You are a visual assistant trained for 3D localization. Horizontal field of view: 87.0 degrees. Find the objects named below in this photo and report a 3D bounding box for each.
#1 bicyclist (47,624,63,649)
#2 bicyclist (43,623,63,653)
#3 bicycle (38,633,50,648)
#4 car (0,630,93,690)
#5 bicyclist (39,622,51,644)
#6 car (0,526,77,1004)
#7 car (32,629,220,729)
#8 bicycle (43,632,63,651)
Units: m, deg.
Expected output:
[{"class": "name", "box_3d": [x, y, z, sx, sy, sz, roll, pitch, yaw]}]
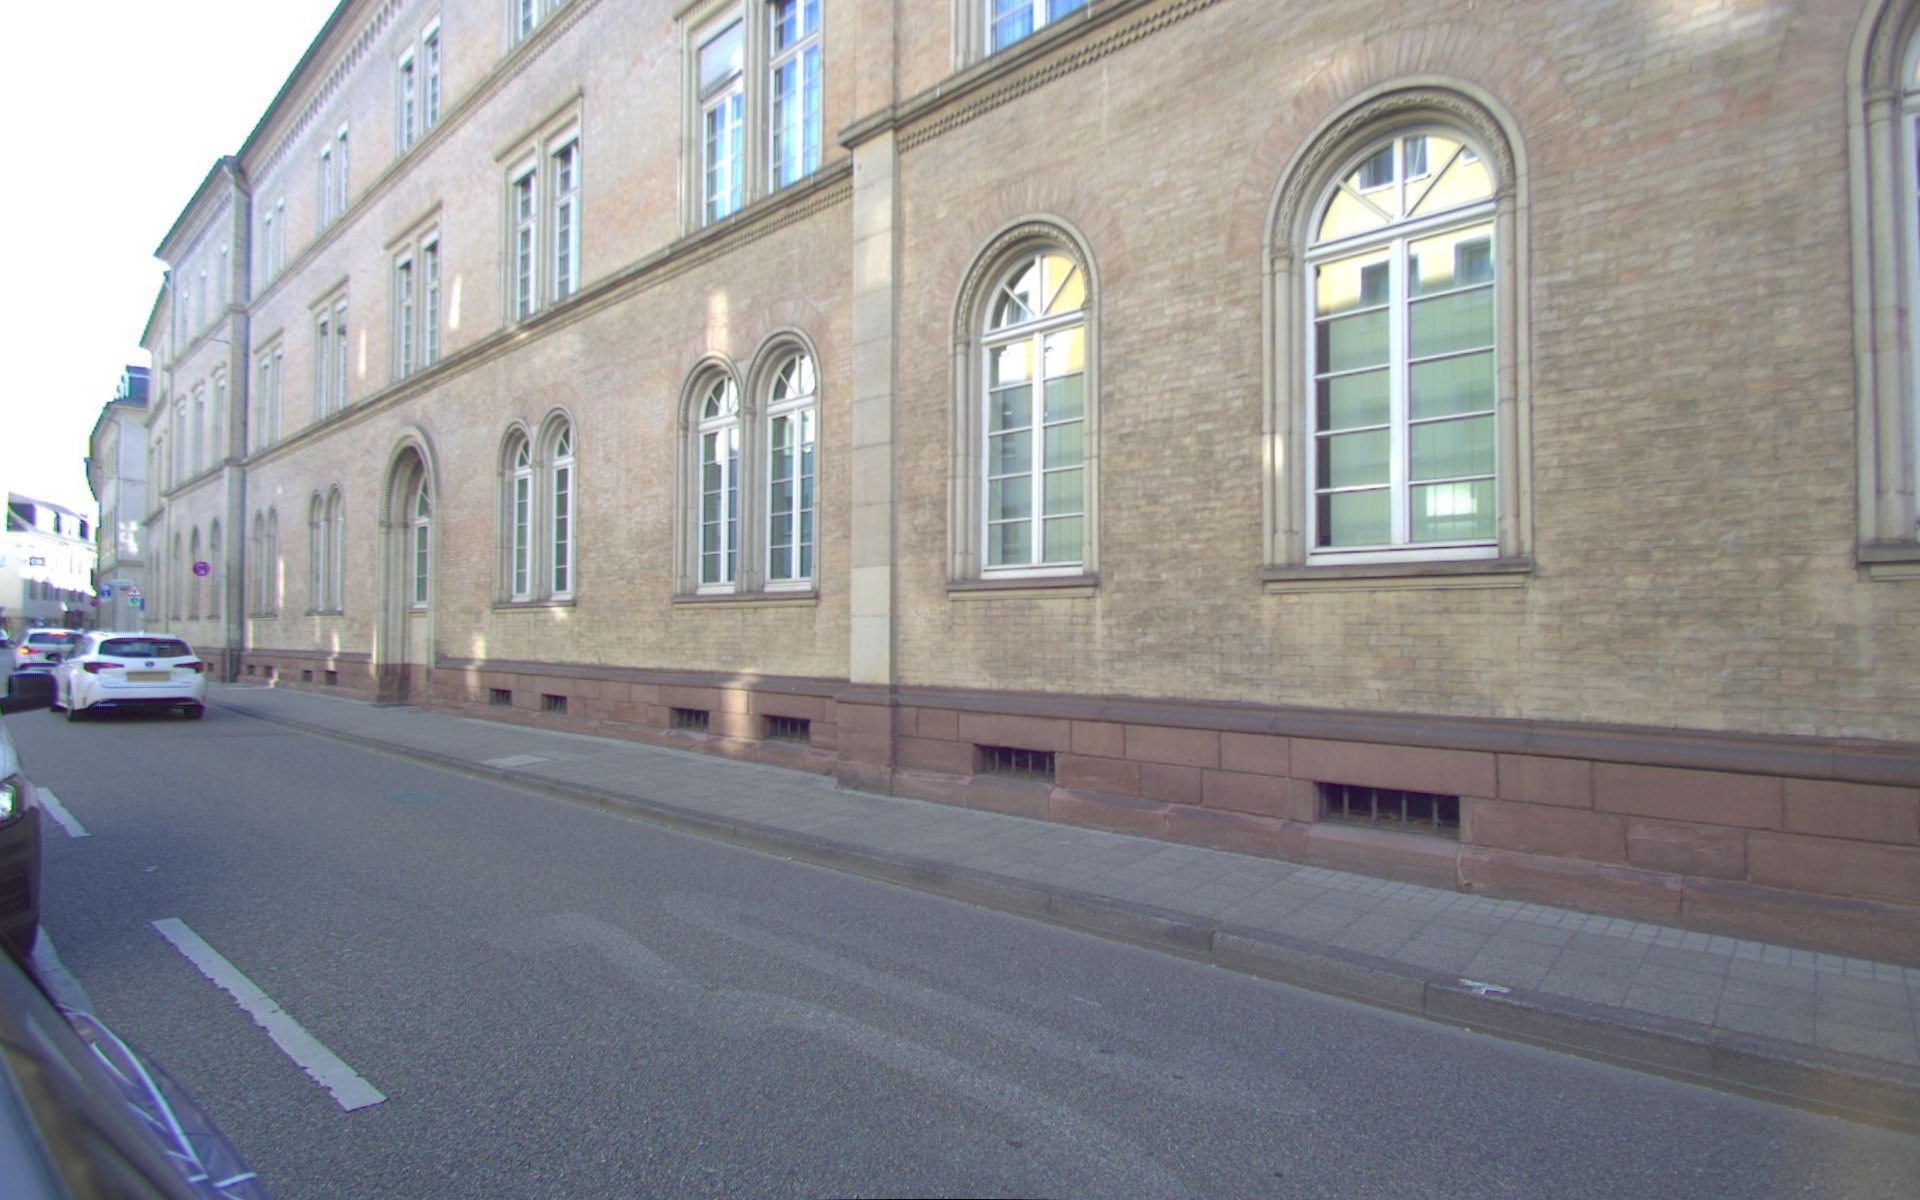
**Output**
[{"class": "bicyclist", "box_3d": [-55.677, 2.240, 62.263, 0.642, 1.520, 1.113, 5, -5, -41]}, {"class": "bicyclist", "box_3d": [-49.703, 2.077, 55.464, 0.961, 1.579, 0.643, -2, -5, 44]}, {"class": "bicycle", "box_3d": [-65.054, 2.856, 71.863, 0.538, 1.014, 1.759, 5, -5, -41]}, {"class": "car", "box_3d": [-26.200, 1.701, 28.954, 4.276, 1.595, 1.666, -2, -5, 44]}, {"class": "bicyclist", "box_3d": [-64.984, 2.339, 71.851, 0.538, 1.545, 0.870, 5, -5, -43]}, {"class": "car", "box_3d": [-6.175, 0.682, 5.167, 5.338, 1.850, 1.795, -2, -3, 41]}, {"class": "car", "box_3d": [-14.459, 1.285, 17.449, 4.545, 1.487, 1.866, -1, -4, 43]}, {"class": "bicycle", "box_3d": [-49.706, 2.280, 55.464, 1.807, 1.014, 0.642, -2, -5, 45]}]
